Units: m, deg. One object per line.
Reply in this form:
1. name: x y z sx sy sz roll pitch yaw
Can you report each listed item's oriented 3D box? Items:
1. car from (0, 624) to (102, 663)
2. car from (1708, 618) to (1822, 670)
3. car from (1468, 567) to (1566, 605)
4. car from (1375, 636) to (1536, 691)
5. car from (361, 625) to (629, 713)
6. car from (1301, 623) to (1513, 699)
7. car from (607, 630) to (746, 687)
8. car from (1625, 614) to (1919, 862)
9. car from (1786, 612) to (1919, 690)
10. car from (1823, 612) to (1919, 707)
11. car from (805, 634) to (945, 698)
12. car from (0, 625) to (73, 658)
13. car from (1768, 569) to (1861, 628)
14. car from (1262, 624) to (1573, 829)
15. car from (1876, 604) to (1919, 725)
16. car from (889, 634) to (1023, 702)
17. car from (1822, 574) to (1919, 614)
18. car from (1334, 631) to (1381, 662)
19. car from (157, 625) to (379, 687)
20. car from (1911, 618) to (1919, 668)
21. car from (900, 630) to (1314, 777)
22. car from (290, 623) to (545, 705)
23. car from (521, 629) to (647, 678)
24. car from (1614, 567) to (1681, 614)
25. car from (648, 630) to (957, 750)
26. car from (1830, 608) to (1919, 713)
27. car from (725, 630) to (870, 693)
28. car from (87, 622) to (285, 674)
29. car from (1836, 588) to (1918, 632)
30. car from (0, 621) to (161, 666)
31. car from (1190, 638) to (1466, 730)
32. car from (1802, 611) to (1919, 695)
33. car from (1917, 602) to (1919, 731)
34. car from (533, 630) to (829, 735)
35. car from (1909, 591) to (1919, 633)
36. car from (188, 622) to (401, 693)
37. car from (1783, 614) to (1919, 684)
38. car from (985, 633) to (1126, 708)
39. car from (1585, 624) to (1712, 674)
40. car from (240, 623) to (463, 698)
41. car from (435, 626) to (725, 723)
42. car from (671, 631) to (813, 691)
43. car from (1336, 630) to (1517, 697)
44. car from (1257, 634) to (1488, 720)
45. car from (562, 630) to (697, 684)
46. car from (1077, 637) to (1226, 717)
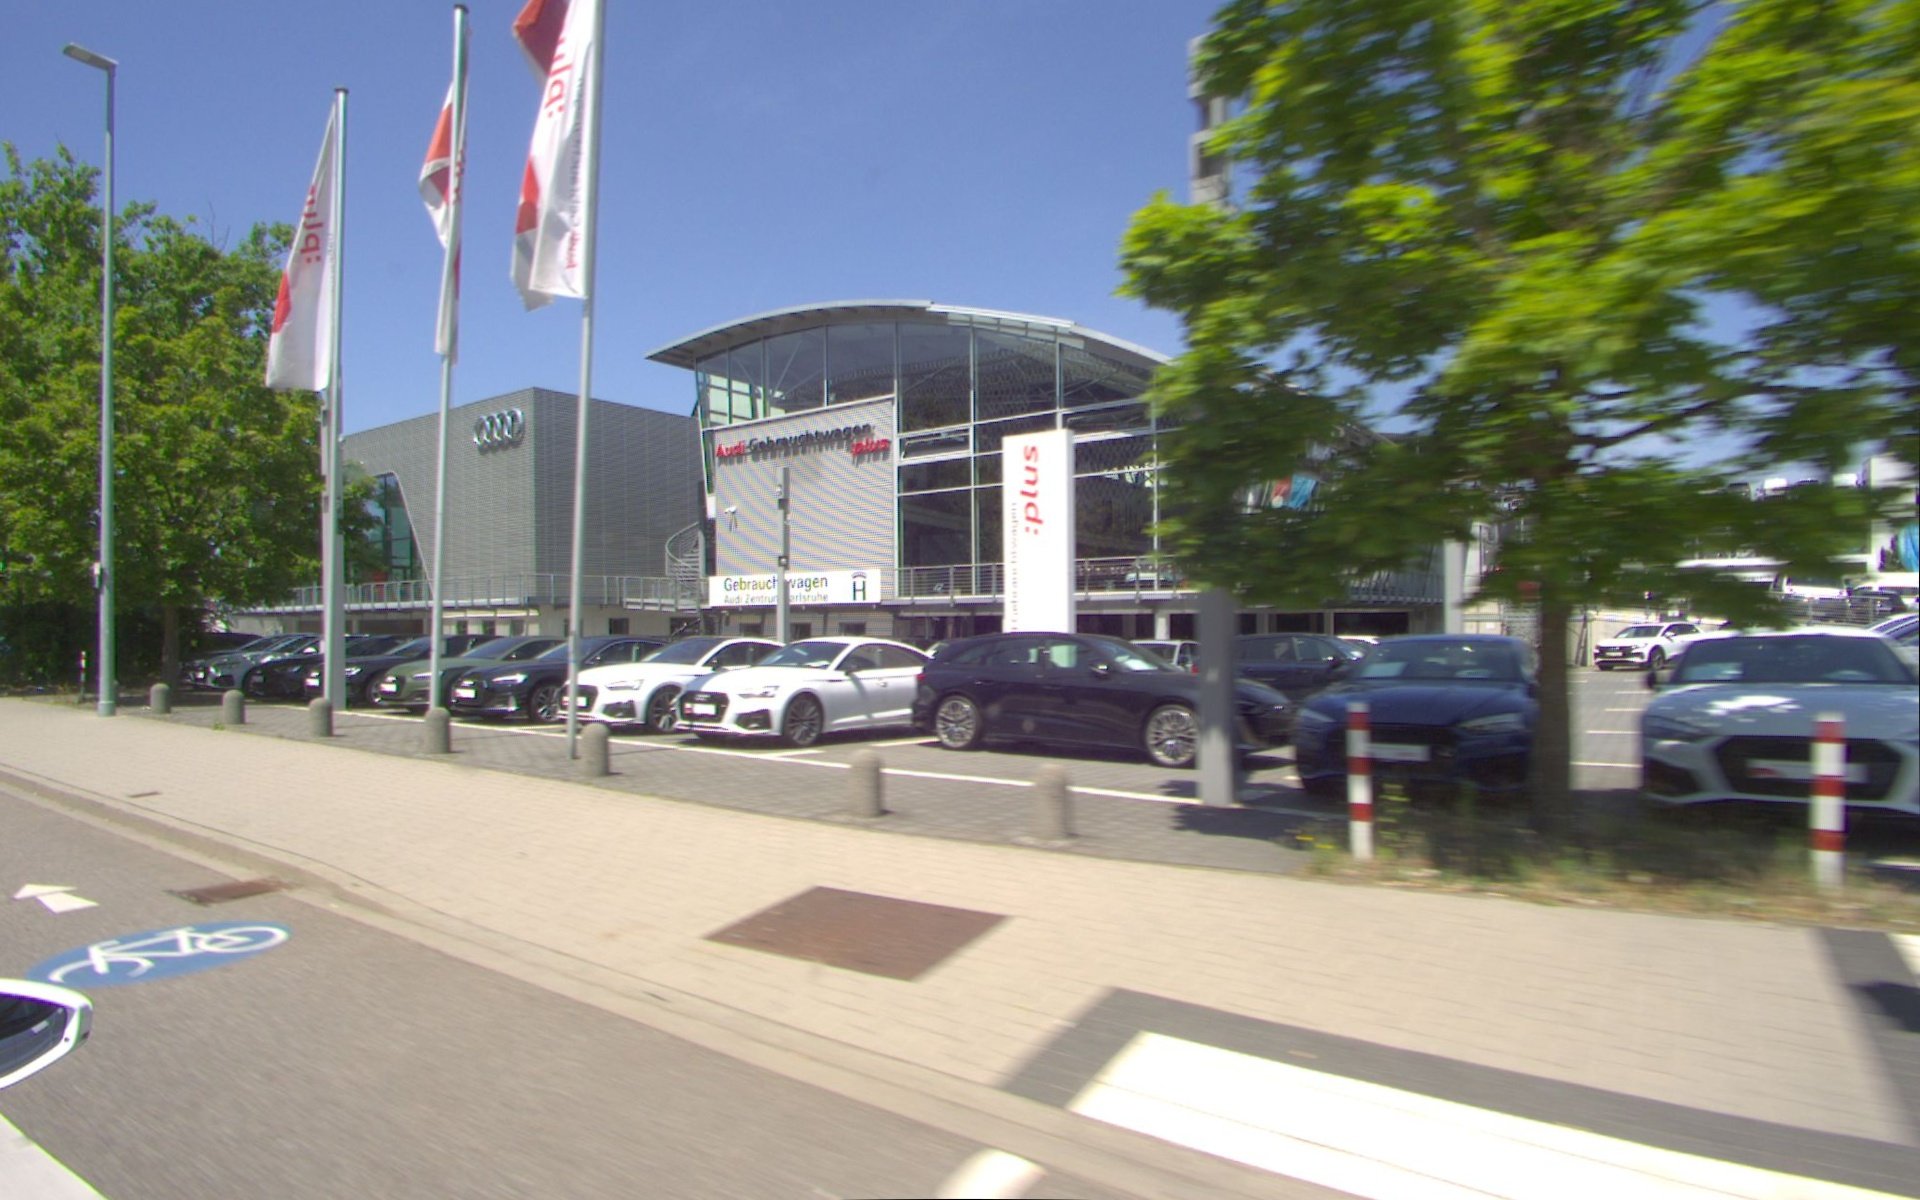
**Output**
1. car: -38.352 1.776 41.313 1.755 1.396 4.124 -1 -6 35
2. car: 25.834 1.399 32.119 3.749 1.523 1.680 0 -2 -32
3. car: 26.985 -0.652 48.619 4.086 1.744 1.906 0 -1 29
4. car: 13.718 1.715 27.795 3.772 1.364 1.667 -1 -1 38
5. car: -8.393 1.247 18.404 1.844 1.422 4.091 -1 -4 35
6. car: 10.578 1.425 23.827 4.291 1.647 1.868 -1 -4 39
7. car: -8.932 1.860 31.810 1.826 1.675 3.976 -1 -3 35
8. car: 6.418 0.919 7.868 1.844 1.407 4.582 -1 -4 35
9. car: 21.245 1.159 22.467 3.941 1.675 1.842 -1 -3 32
10. car: 18.160 1.060 17.937 3.854 1.675 1.626 -1 -2 32
11. car: -2.220 1.786 27.189 1.612 1.592 3.973 -1 -3 35
12. car: -42.478 1.809 44.531 1.892 1.358 4.213 -1 -5 35
13. car: 30.861 -0.003 36.319 1.887 1.992 5.224 0 -1 33
14. car: 4.338 0.999 9.116 1.844 1.407 4.086 -1 -4 35
15. car: 15.352 0.921 13.621 3.941 1.675 1.842 -1 -3 32
16. car: -0.036 1.735 25.831 1.620 1.600 3.639 -1 -3 35
17. car: 46.412 -0.275 50.268 4.526 1.911 1.903 -1 -1 34
18. car: 21.649 2.550 54.459 1.591 1.629 3.504 -1 -3 35
19. car: -17.229 1.405 25.126 1.792 1.419 4.222 0 -3 35
20. car: 30.851 1.263 30.272 4.549 1.491 1.840 0 0 -30
21. car: 1.628 1.108 11.984 4.604 1.437 1.857 -1 -4 38
22. car: -10.734 1.269 20.078 1.844 1.471 4.091 -1 -4 35
23. car: -13.087 1.891 35.070 1.619 1.603 3.890 -1 -3 35
24. car: 27.003 -0.315 39.282 1.890 1.730 4.556 0 -1 38
25. car: -1.980 1.159 13.697 1.850 1.381 4.086 -1 -4 35
26. car: 16.451 0.994 15.870 3.762 1.637 1.634 1 -1 32
27. car: -4.594 1.764 28.753 1.826 1.675 3.976 -1 -3 35
28. car: -23.731 1.516 30.862 1.810 1.409 4.441 -1 -5 35
29. car: 39.345 0.484 43.067 1.972 1.727 3.980 0 -3 33
30. car: -32.362 1.632 36.860 1.892 1.424 4.213 -1 -5 35
31. car: 6.987 1.541 19.284 4.658 1.534 1.868 -1 -4 39
32. car: 19.899 1.095 20.405 3.941 1.675 1.842 -1 -3 32
33. car: 13.529 0.787 11.160 3.950 1.675 1.838 -1 -3 39
34. car: -4.071 1.201 15.230 1.844 1.365 4.090 -1 -4 35
35. car: 41.497 0.475 41.836 1.972 1.727 3.980 0 -3 33
36. car: -15.202 1.319 23.030 1.810 1.471 3.673 -1 -3 35
37. car: 22.938 1.213 24.620 3.941 1.675 1.842 -1 -3 32
38. car: 2.390 1.686 24.262 1.635 1.642 3.976 -1 -3 35
39. car: 23.577 1.646 34.286 3.935 1.591 1.844 0 -1 -25
40. car: -12.967 1.291 21.514 1.810 1.471 3.673 -1 -3 35
41. car: -6.186 1.206 16.743 1.844 1.407 4.216 -1 -4 35
42. car: -6.490 1.832 30.192 1.826 1.675 3.976 -1 -3 35
43. car: 11.981 1.570 25.798 3.950 1.560 1.844 -1 -1 38
44. car: 8.796 1.594 21.506 4.256 1.647 1.868 -1 -4 39
45. car: -10.976 1.901 33.511 1.826 1.675 3.976 -1 -3 35
46. car: 4.417 1.695 22.634 1.826 1.618 3.976 -1 -3 35
